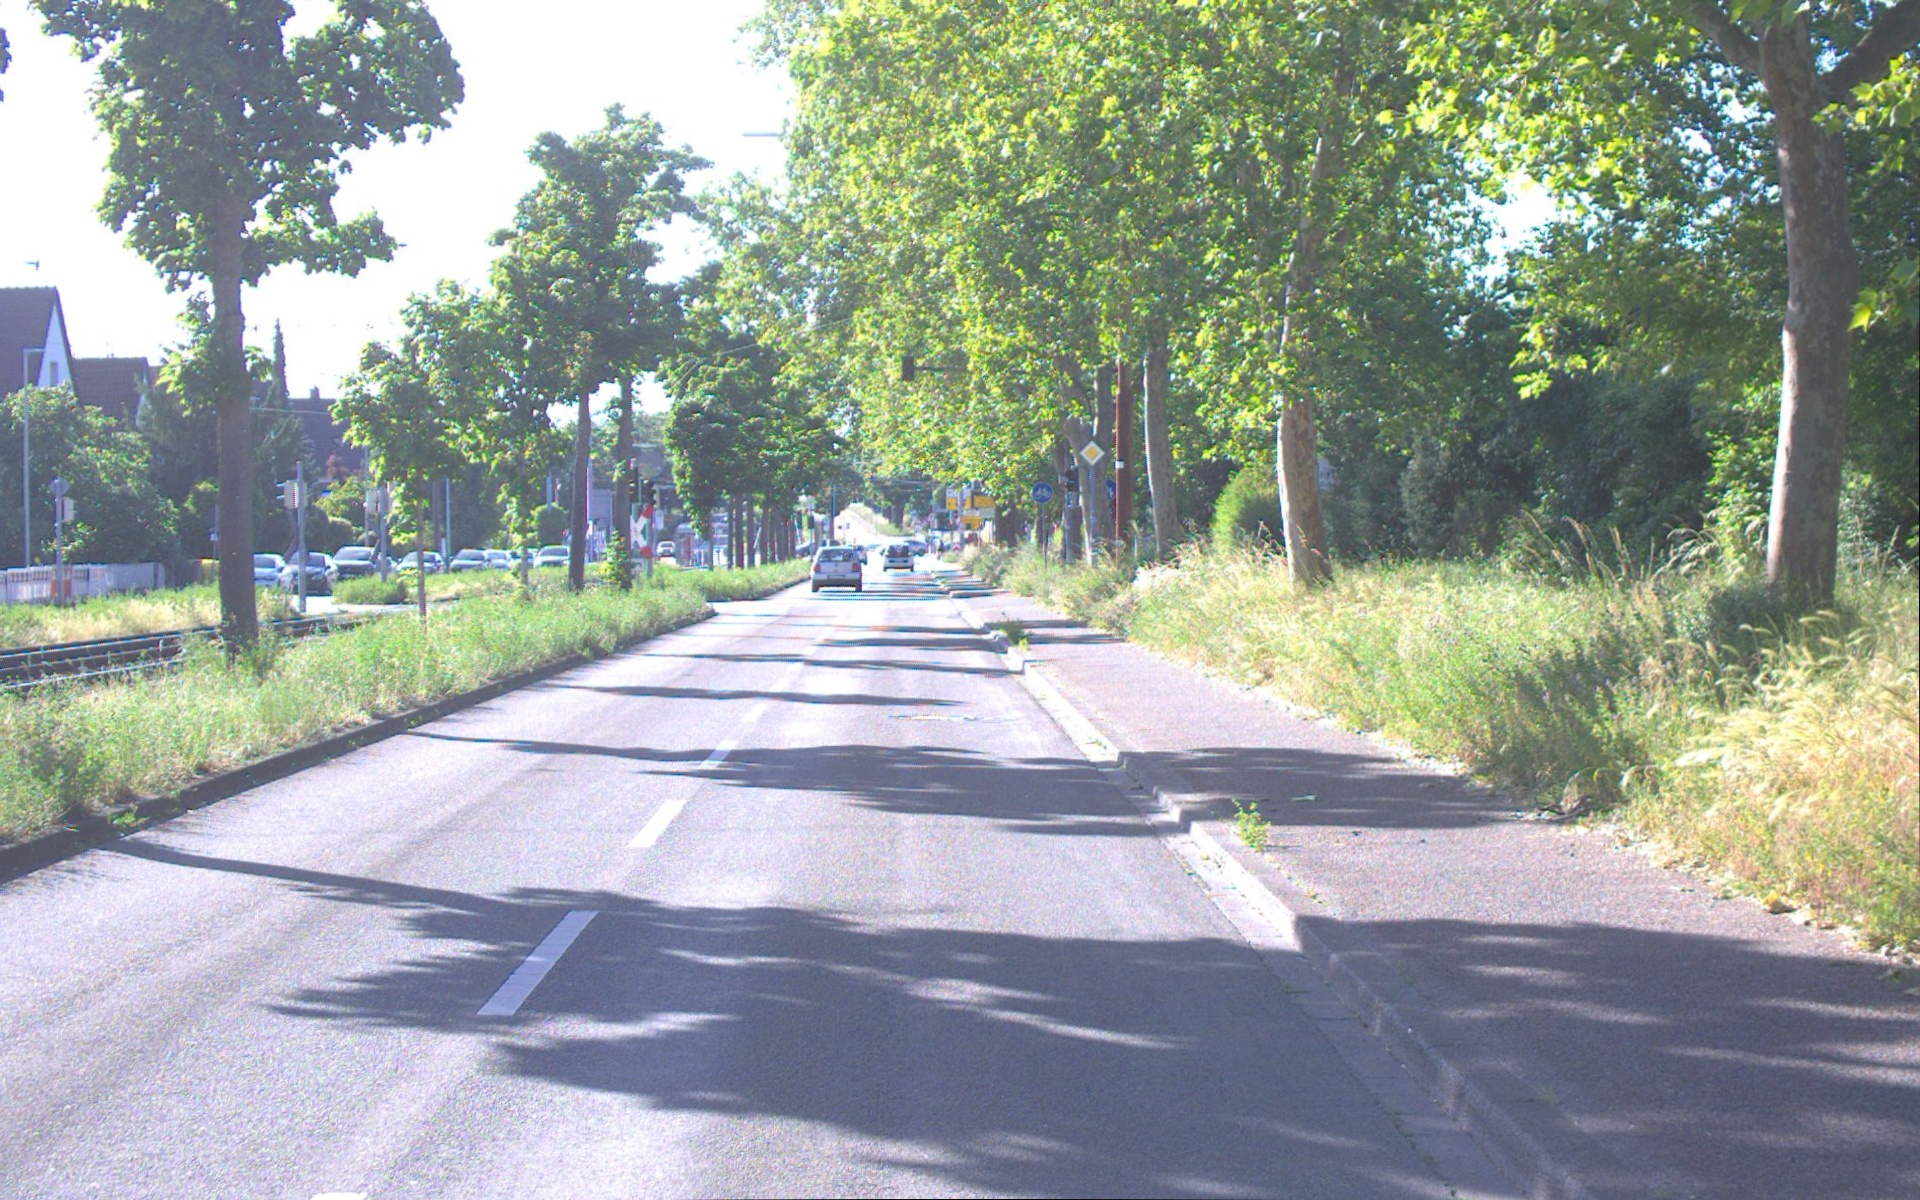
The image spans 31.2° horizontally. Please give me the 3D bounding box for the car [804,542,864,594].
[{"bbox_3d":[-4.024,-1.032,110.287,1.860,1.595,4.228,1,1,-1],"label":"car"}]

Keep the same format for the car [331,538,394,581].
[{"bbox_3d":[-23.406,-1.584,134.784,1.748,1.645,4.555,1,1,-1],"label":"car"}]

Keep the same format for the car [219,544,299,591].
[{"bbox_3d":[-23.358,-1.101,114.692,1.860,1.537,4.228,1,1,-1],"label":"car"}]

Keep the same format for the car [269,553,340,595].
[{"bbox_3d":[-23.501,-0.963,123.385,1.729,1.461,4.603,1,1,-1],"label":"car"}]

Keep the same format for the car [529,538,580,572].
[{"bbox_3d":[-19.722,-2.208,167.353,1.993,1.598,4.474,1,1,-1],"label":"car"}]

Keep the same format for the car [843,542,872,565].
[{"bbox_3d":[-7.239,-3.308,243.973,1.993,1.598,4.474,1,1,-1],"label":"car"}]

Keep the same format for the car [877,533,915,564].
[{"bbox_3d":[-3.444,-2.766,185.282,1.993,1.598,4.474,1,1,-1],"label":"car"}]
